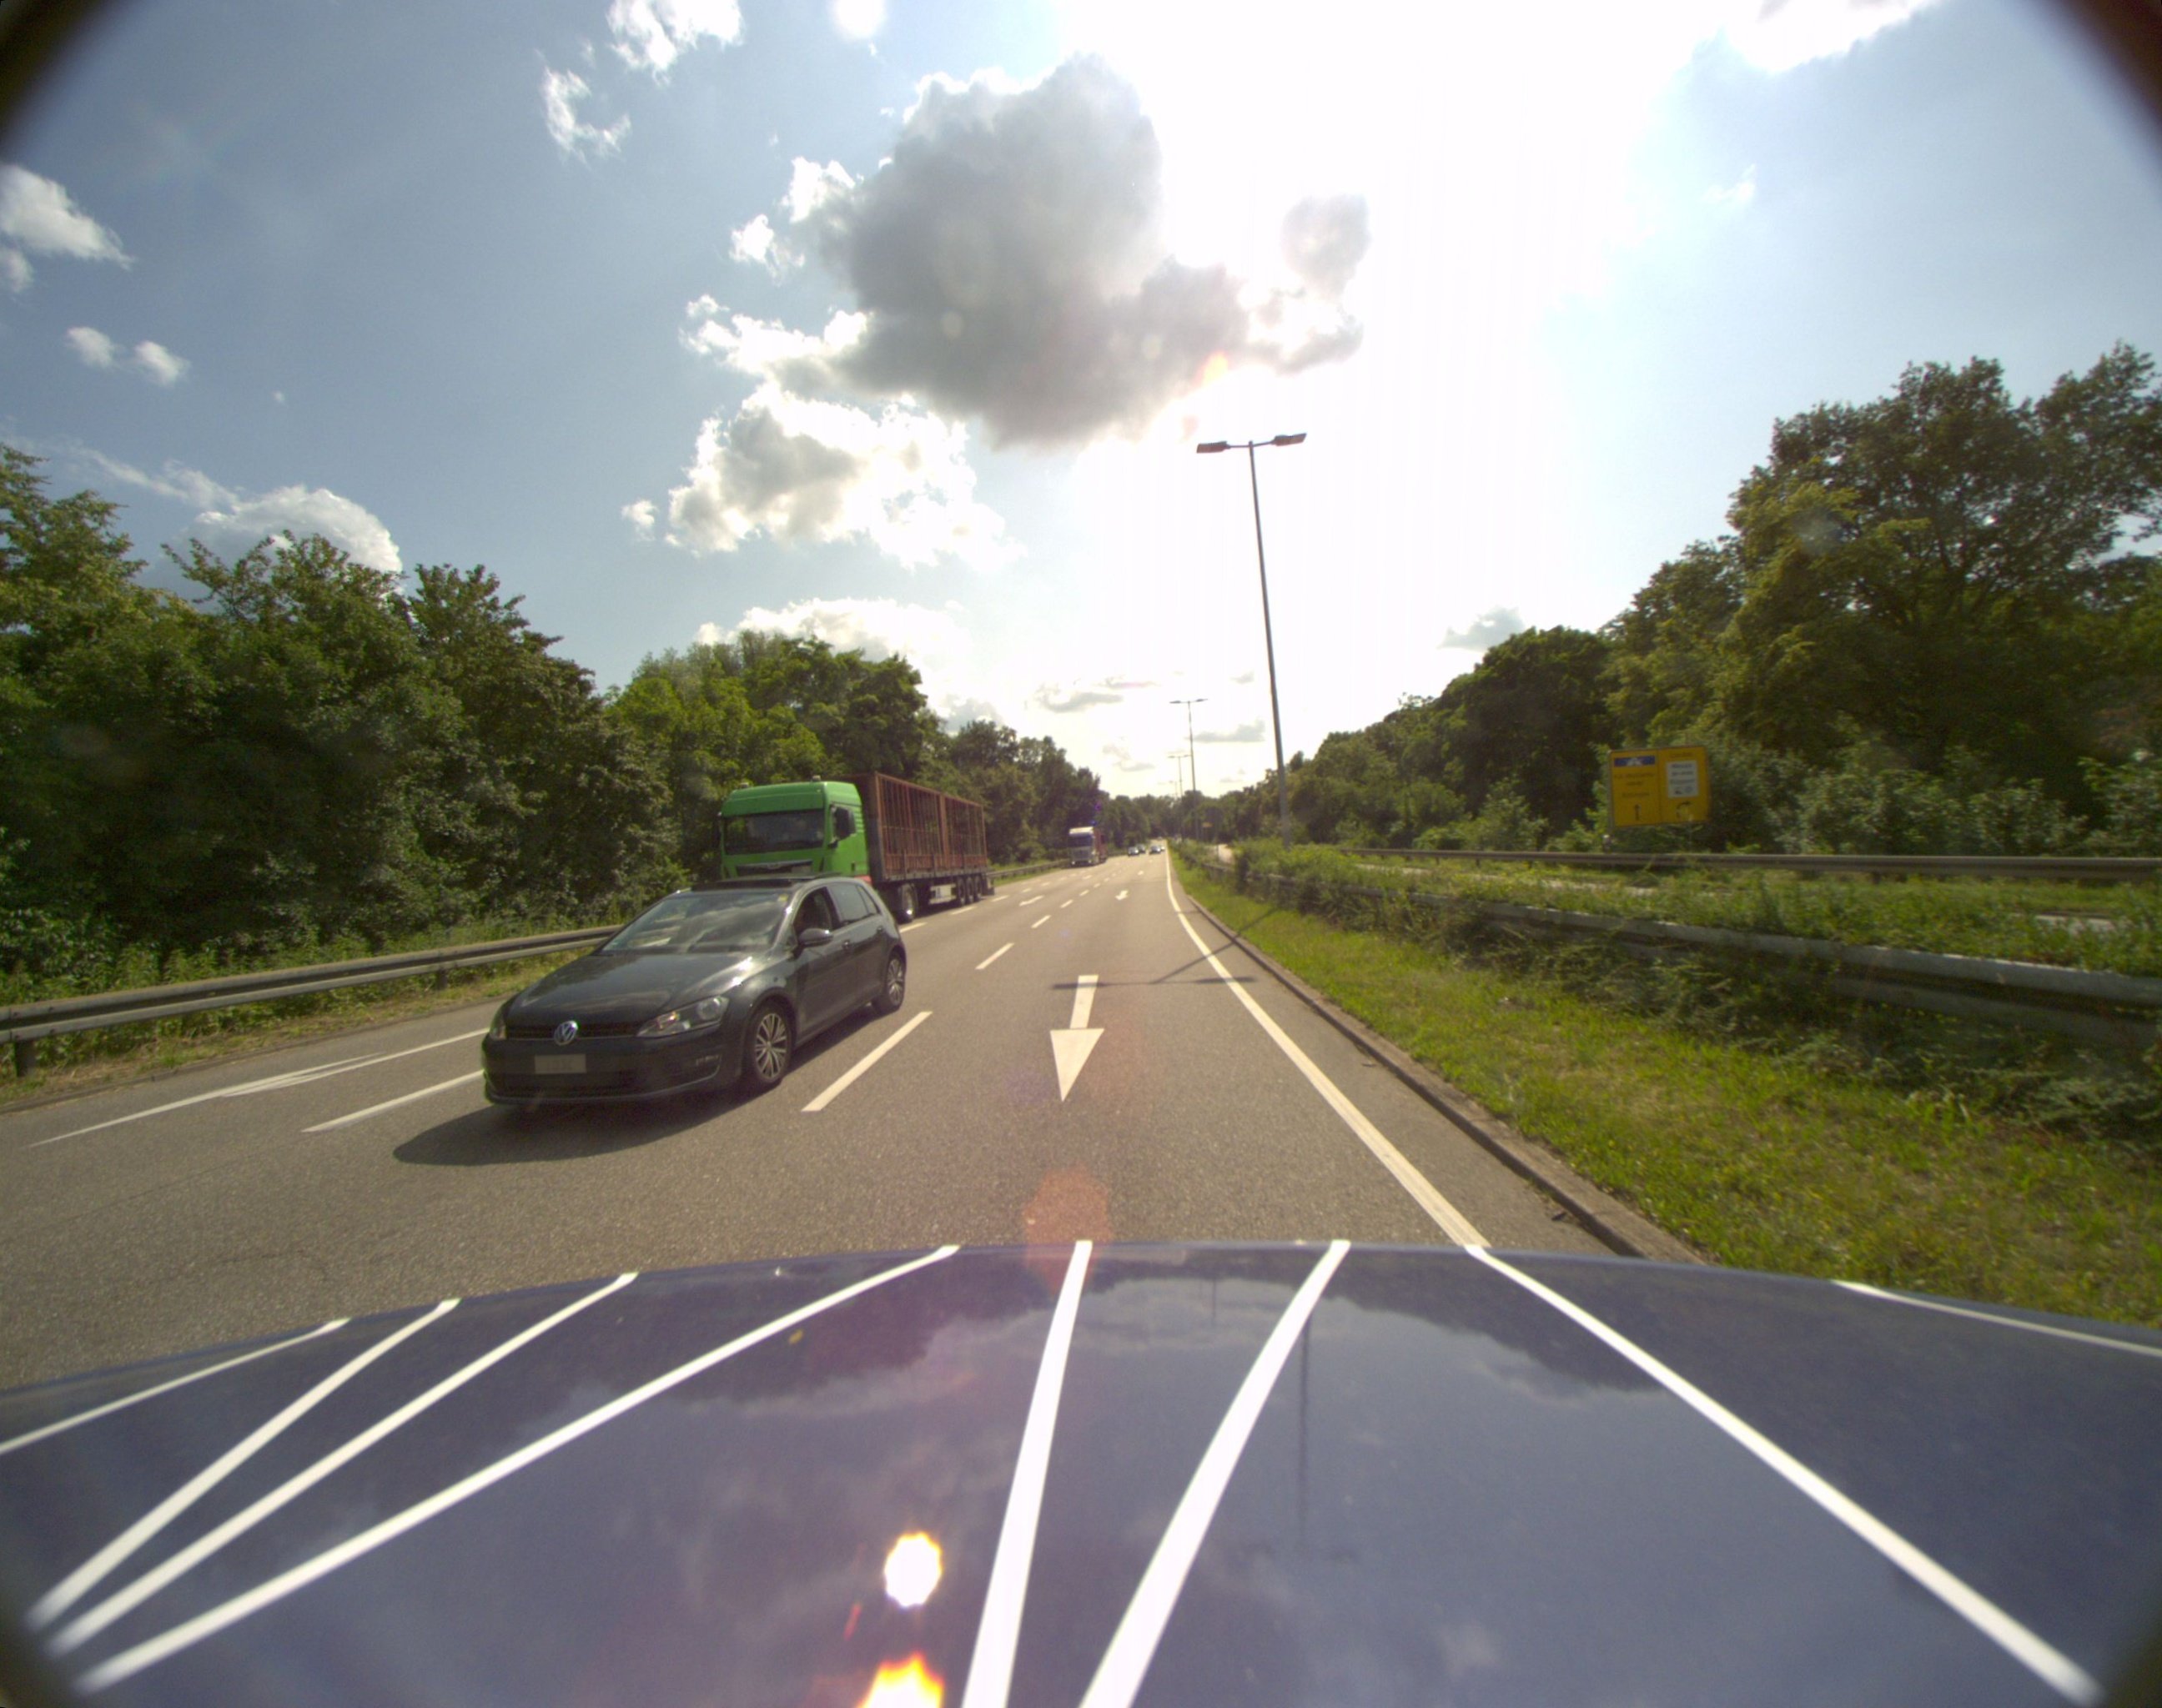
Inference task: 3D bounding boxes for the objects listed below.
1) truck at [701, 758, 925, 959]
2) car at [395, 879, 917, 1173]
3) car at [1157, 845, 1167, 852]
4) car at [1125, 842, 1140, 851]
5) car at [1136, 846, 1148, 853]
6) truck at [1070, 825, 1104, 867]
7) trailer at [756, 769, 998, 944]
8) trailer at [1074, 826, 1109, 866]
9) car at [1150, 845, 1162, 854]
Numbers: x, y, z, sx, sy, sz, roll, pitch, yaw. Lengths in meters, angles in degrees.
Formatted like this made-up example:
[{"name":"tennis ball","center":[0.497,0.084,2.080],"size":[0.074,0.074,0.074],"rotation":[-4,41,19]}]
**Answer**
[{"name":"truck","center":[-6.049,0.091,18.367],"size":[2.590,3.871,6.063],"rotation":[-5,0,4]},{"name":"car","center":[-2.873,1.060,6.334],"size":[1.735,1.468,4.048],"rotation":[-3,0,5]},{"name":"car","center":[16.015,-1.125,149.590],"size":[1.796,1.368,4.002],"rotation":[-3,0,7]},{"name":"car","center":[8.199,-1.243,121.660],"size":[1.997,1.330,4.002],"rotation":[-3,0,8]},{"name":"car","center":[11.295,-0.837,140.461],"size":[1.998,1.330,4.001],"rotation":[-3,0,5]},{"name":"truck","center":[0.712,-0.834,79.939],"size":[2.690,3.948,7.386],"rotation":[-5,0,6]},{"name":"trailer","center":[-5.541,0.026,24.892],"size":[2.590,3.871,14.506],"rotation":[-5,0,5]},{"name":"trailer","center":[1.320,-0.891,86.191],"size":[2.694,3.948,12.396],"rotation":[-5,0,6]},{"name":"car","center":[12.088,-0.678,122.307],"size":[1.796,1.368,4.002],"rotation":[-3,0,7]}]
